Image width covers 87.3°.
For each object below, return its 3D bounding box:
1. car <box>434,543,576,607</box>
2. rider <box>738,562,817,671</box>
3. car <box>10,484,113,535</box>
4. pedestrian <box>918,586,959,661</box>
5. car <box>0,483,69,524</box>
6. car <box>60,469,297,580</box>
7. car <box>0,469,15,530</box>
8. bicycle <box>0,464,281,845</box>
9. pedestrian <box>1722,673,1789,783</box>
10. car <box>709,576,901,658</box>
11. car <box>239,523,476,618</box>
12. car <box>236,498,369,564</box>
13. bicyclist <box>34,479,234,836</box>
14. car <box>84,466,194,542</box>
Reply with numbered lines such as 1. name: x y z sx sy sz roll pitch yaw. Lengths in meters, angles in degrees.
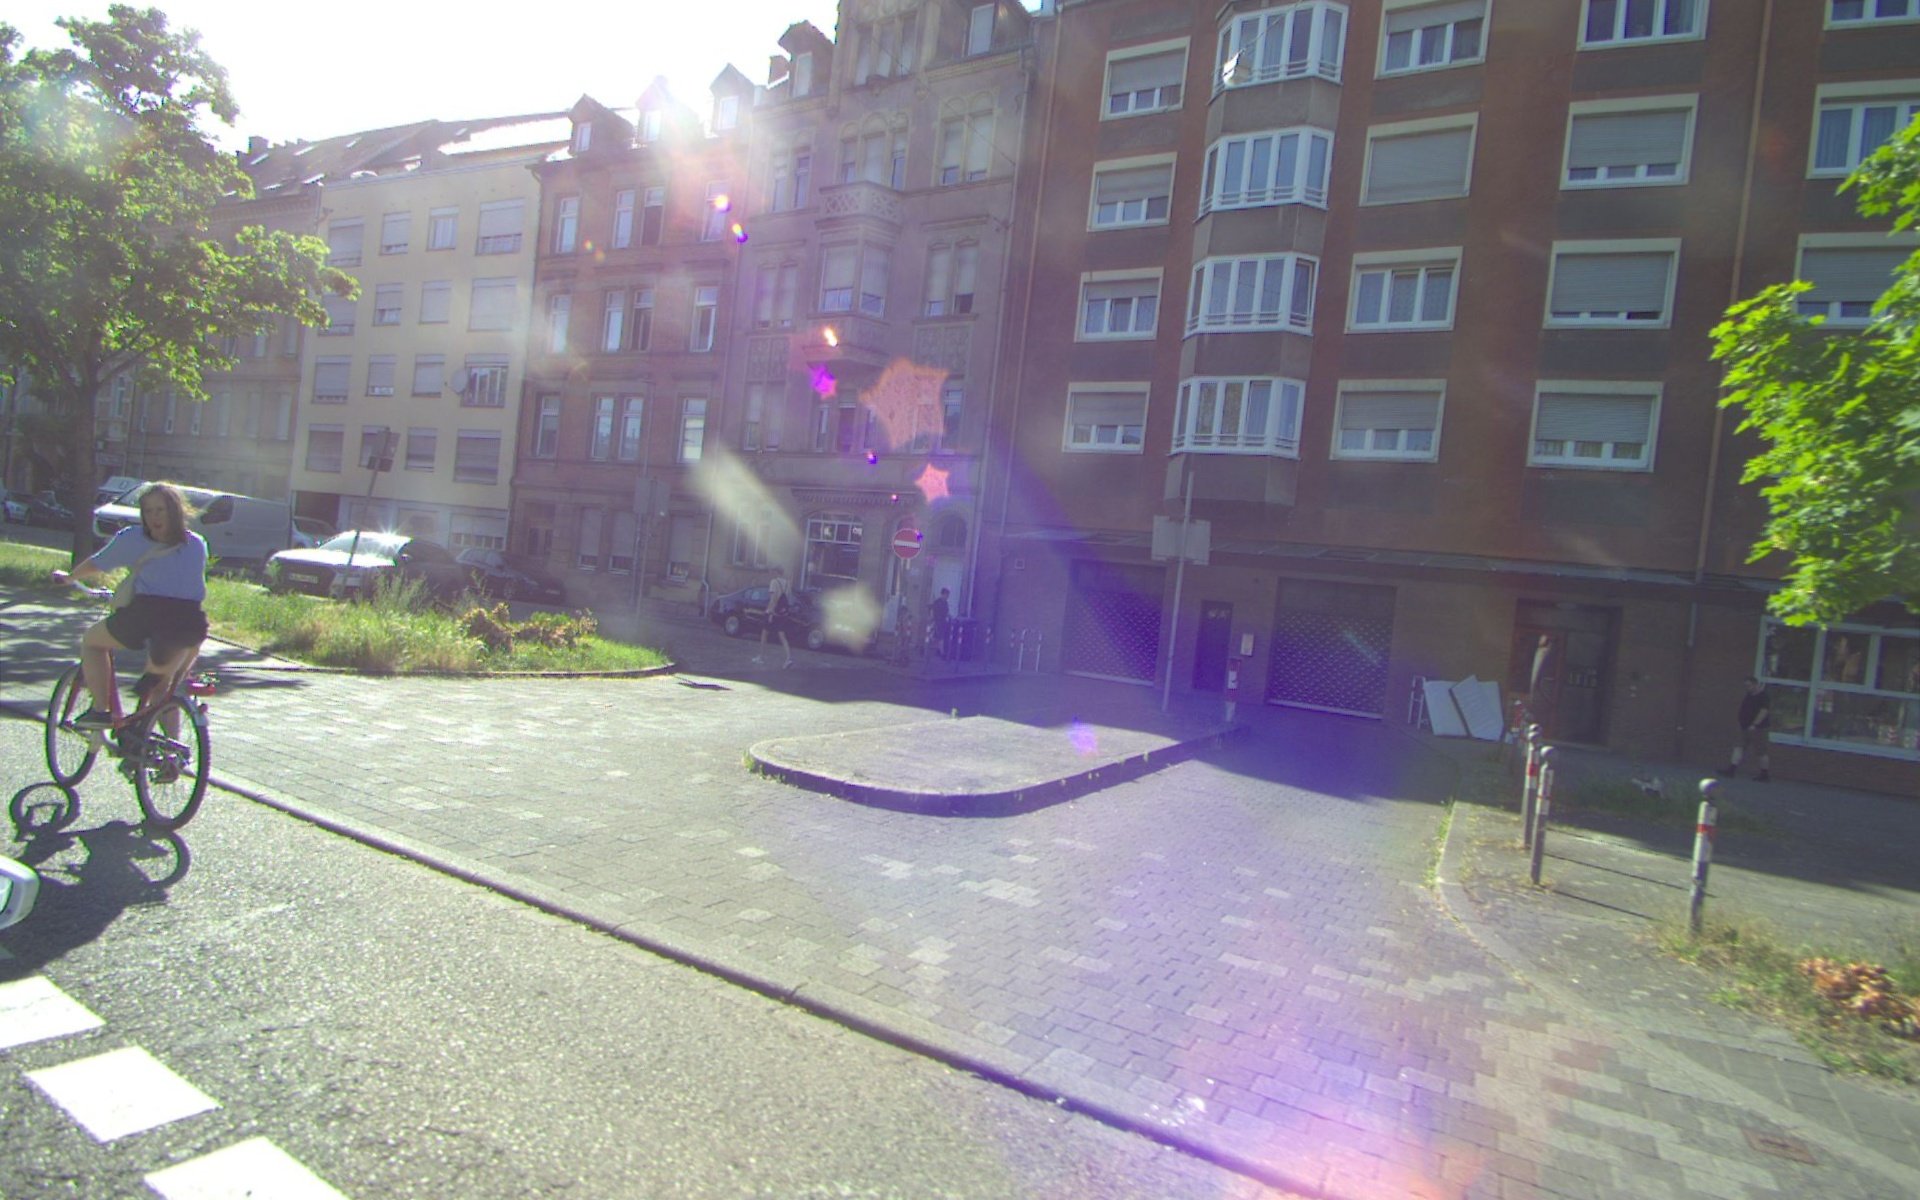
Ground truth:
1. car: -14.050 -0.781 31.026 4.219 1.439 1.730 8 2 29
2. rider: -3.354 0.296 18.584 1.021 1.844 0.962 7 2 7
3. car: -39.850 -4.030 44.613 4.435 1.713 1.996 7 1 29
4. pedestrian: -0.530 0.581 24.924 0.605 1.781 0.570 7 2 31
5. car: -44.329 -4.608 47.282 4.431 1.549 1.996 8 3 24
6. car: -17.988 -1.690 23.521 1.985 2.103 4.870 6 2 -6
7. car: -33.406 -3.424 31.862 2.062 2.040 5.181 5 2 -1
8. bicycle: -4.397 0.206 5.228 1.905 1.657 0.438 7 -1 29
9. pedestrian: 13.639 2.175 17.261 0.631 1.783 0.592 7 1 29
10. car: -3.910 0.418 25.203 4.415 1.493 1.995 7 1 32
11. car: -11.779 -0.621 20.156 1.984 1.454 4.872 6 2 -4
12. car: -23.691 -2.500 36.231 4.546 1.824 1.995 8 3 28
13. bicyclist: -4.215 0.264 5.132 0.766 1.660 0.438 7 2 29
14. car: -33.946 -3.961 41.563 4.436 2.620 1.994 8 3 30
